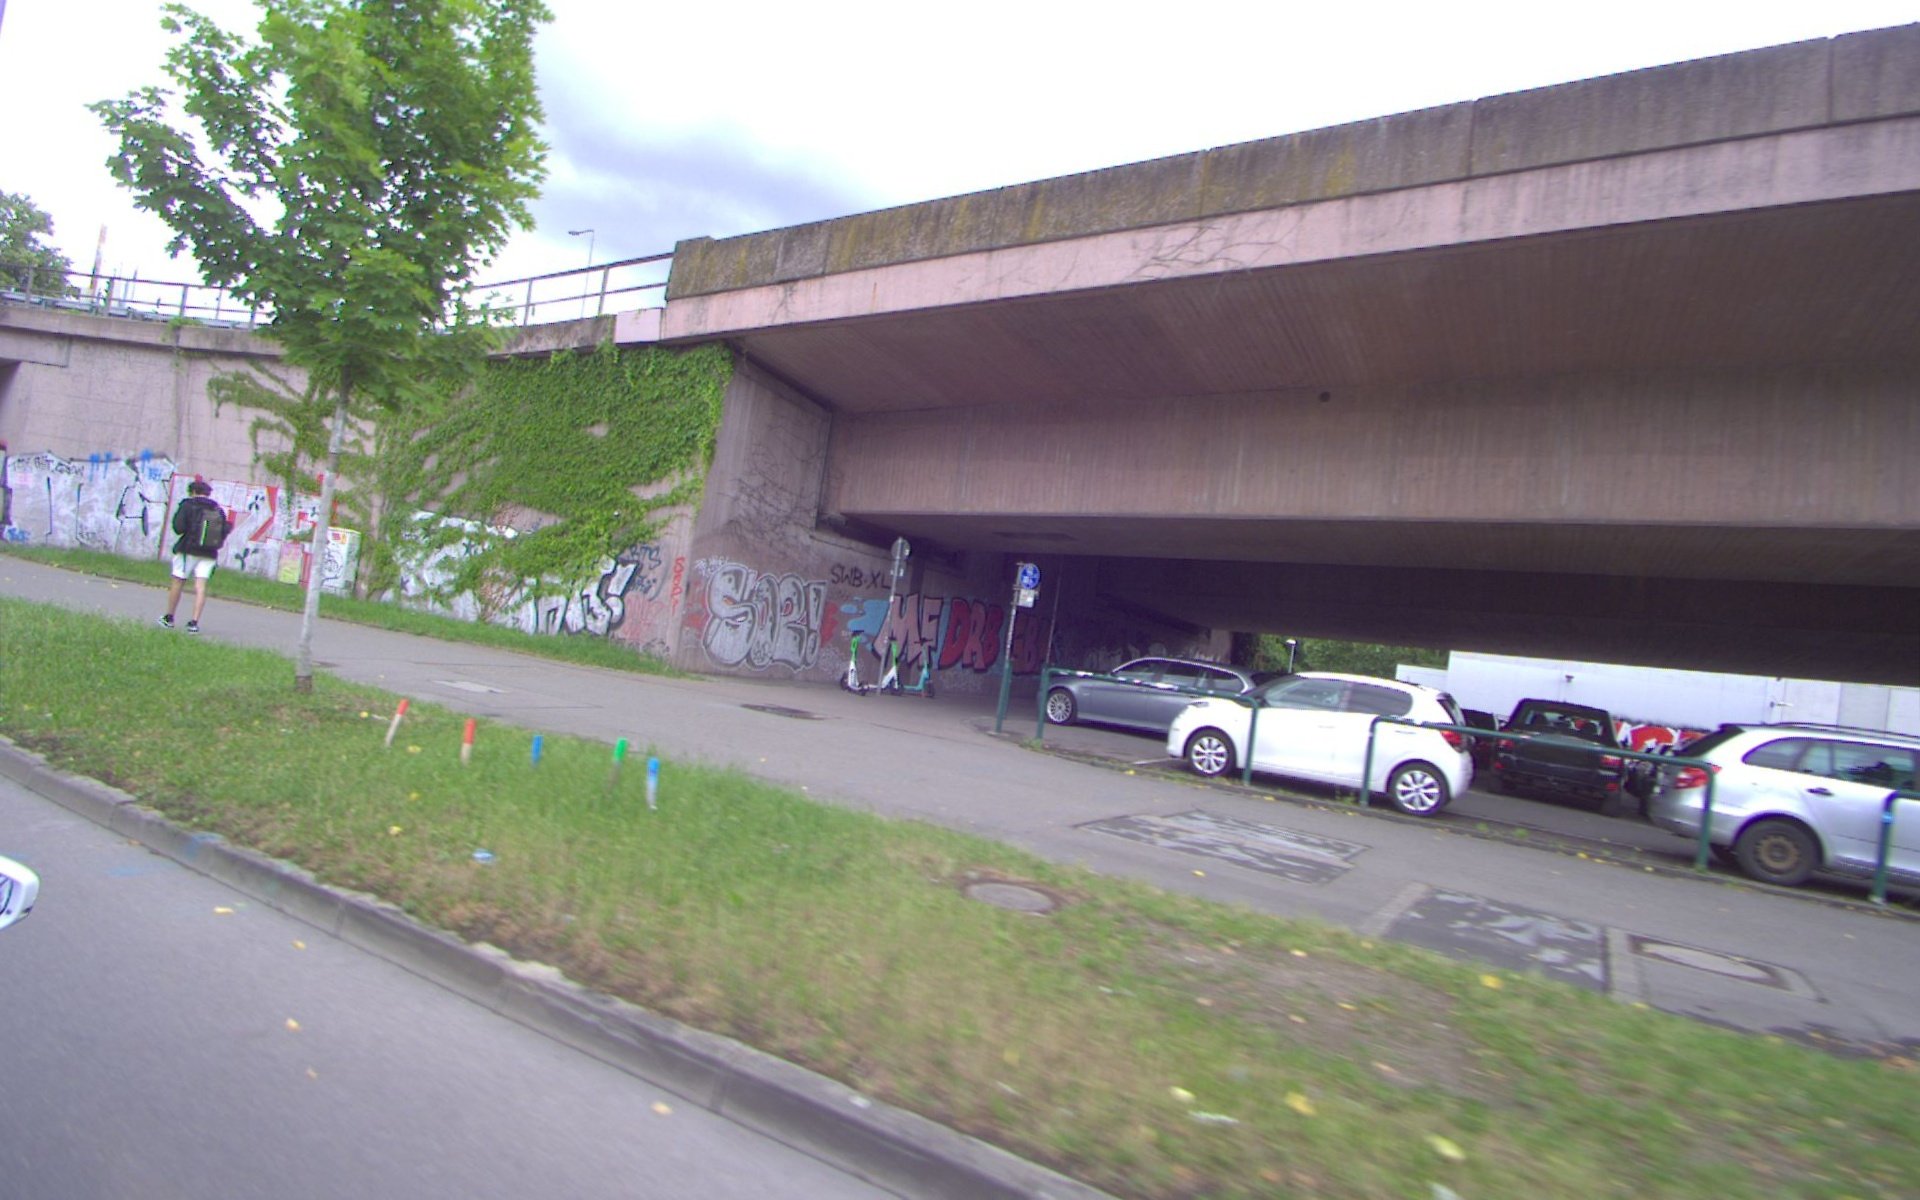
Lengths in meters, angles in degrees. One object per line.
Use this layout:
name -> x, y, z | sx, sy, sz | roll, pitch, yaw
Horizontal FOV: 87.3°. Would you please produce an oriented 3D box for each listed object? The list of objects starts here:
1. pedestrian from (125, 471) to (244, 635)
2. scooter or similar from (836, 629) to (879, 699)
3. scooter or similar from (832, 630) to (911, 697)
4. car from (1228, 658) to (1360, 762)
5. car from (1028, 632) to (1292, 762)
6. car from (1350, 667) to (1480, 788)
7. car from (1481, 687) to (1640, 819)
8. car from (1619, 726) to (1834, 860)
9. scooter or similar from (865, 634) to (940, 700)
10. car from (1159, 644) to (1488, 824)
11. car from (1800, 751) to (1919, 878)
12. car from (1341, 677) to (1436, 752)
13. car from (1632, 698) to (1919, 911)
pedestrian -> -9.855, -0.586, 12.791 | 0.811, 1.929, 0.736 | 7, -1, 30
scooter or similar -> -1.912, 1.152, 18.620 | 0.266, 1.142, 1.673 | 8, -2, -19
scooter or similar -> -1.785, 1.277, 20.255 | 1.411, 1.142, 0.270 | 8, -1, 4
car -> 6.418, 2.083, 19.061 | 1.727, 1.494, 3.863 | 8, -3, 26
car -> 3.365, 1.625, 17.261 | 3.939, 1.516, 1.745 | 7, -2, 37
car -> 8.178, 2.252, 18.051 | 1.727, 1.656, 3.863 | 8, -2, 26
car -> 9.845, 2.473, 16.761 | 1.727, 1.656, 3.863 | 8, -2, 26
car -> 11.532, 2.819, 15.432 | 1.727, 1.454, 3.863 | 8, -3, 26
scooter or similar -> -1.209, 1.409, 21.307 | 1.411, 1.181, 0.270 | 8, -1, 4
car -> 4.332, 1.540, 12.075 | 3.322, 1.456, 1.578 | 7, -3, 32
car -> 13.426, 3.021, 13.906 | 1.727, 1.450, 3.863 | 8, -3, 26
car -> 12.740, 3.422, 29.786 | 1.853, 1.808, 3.659 | 8, -3, 33
car -> 8.891, 2.037, 9.431 | 3.999, 1.552, 1.617 | 8, -3, 28
